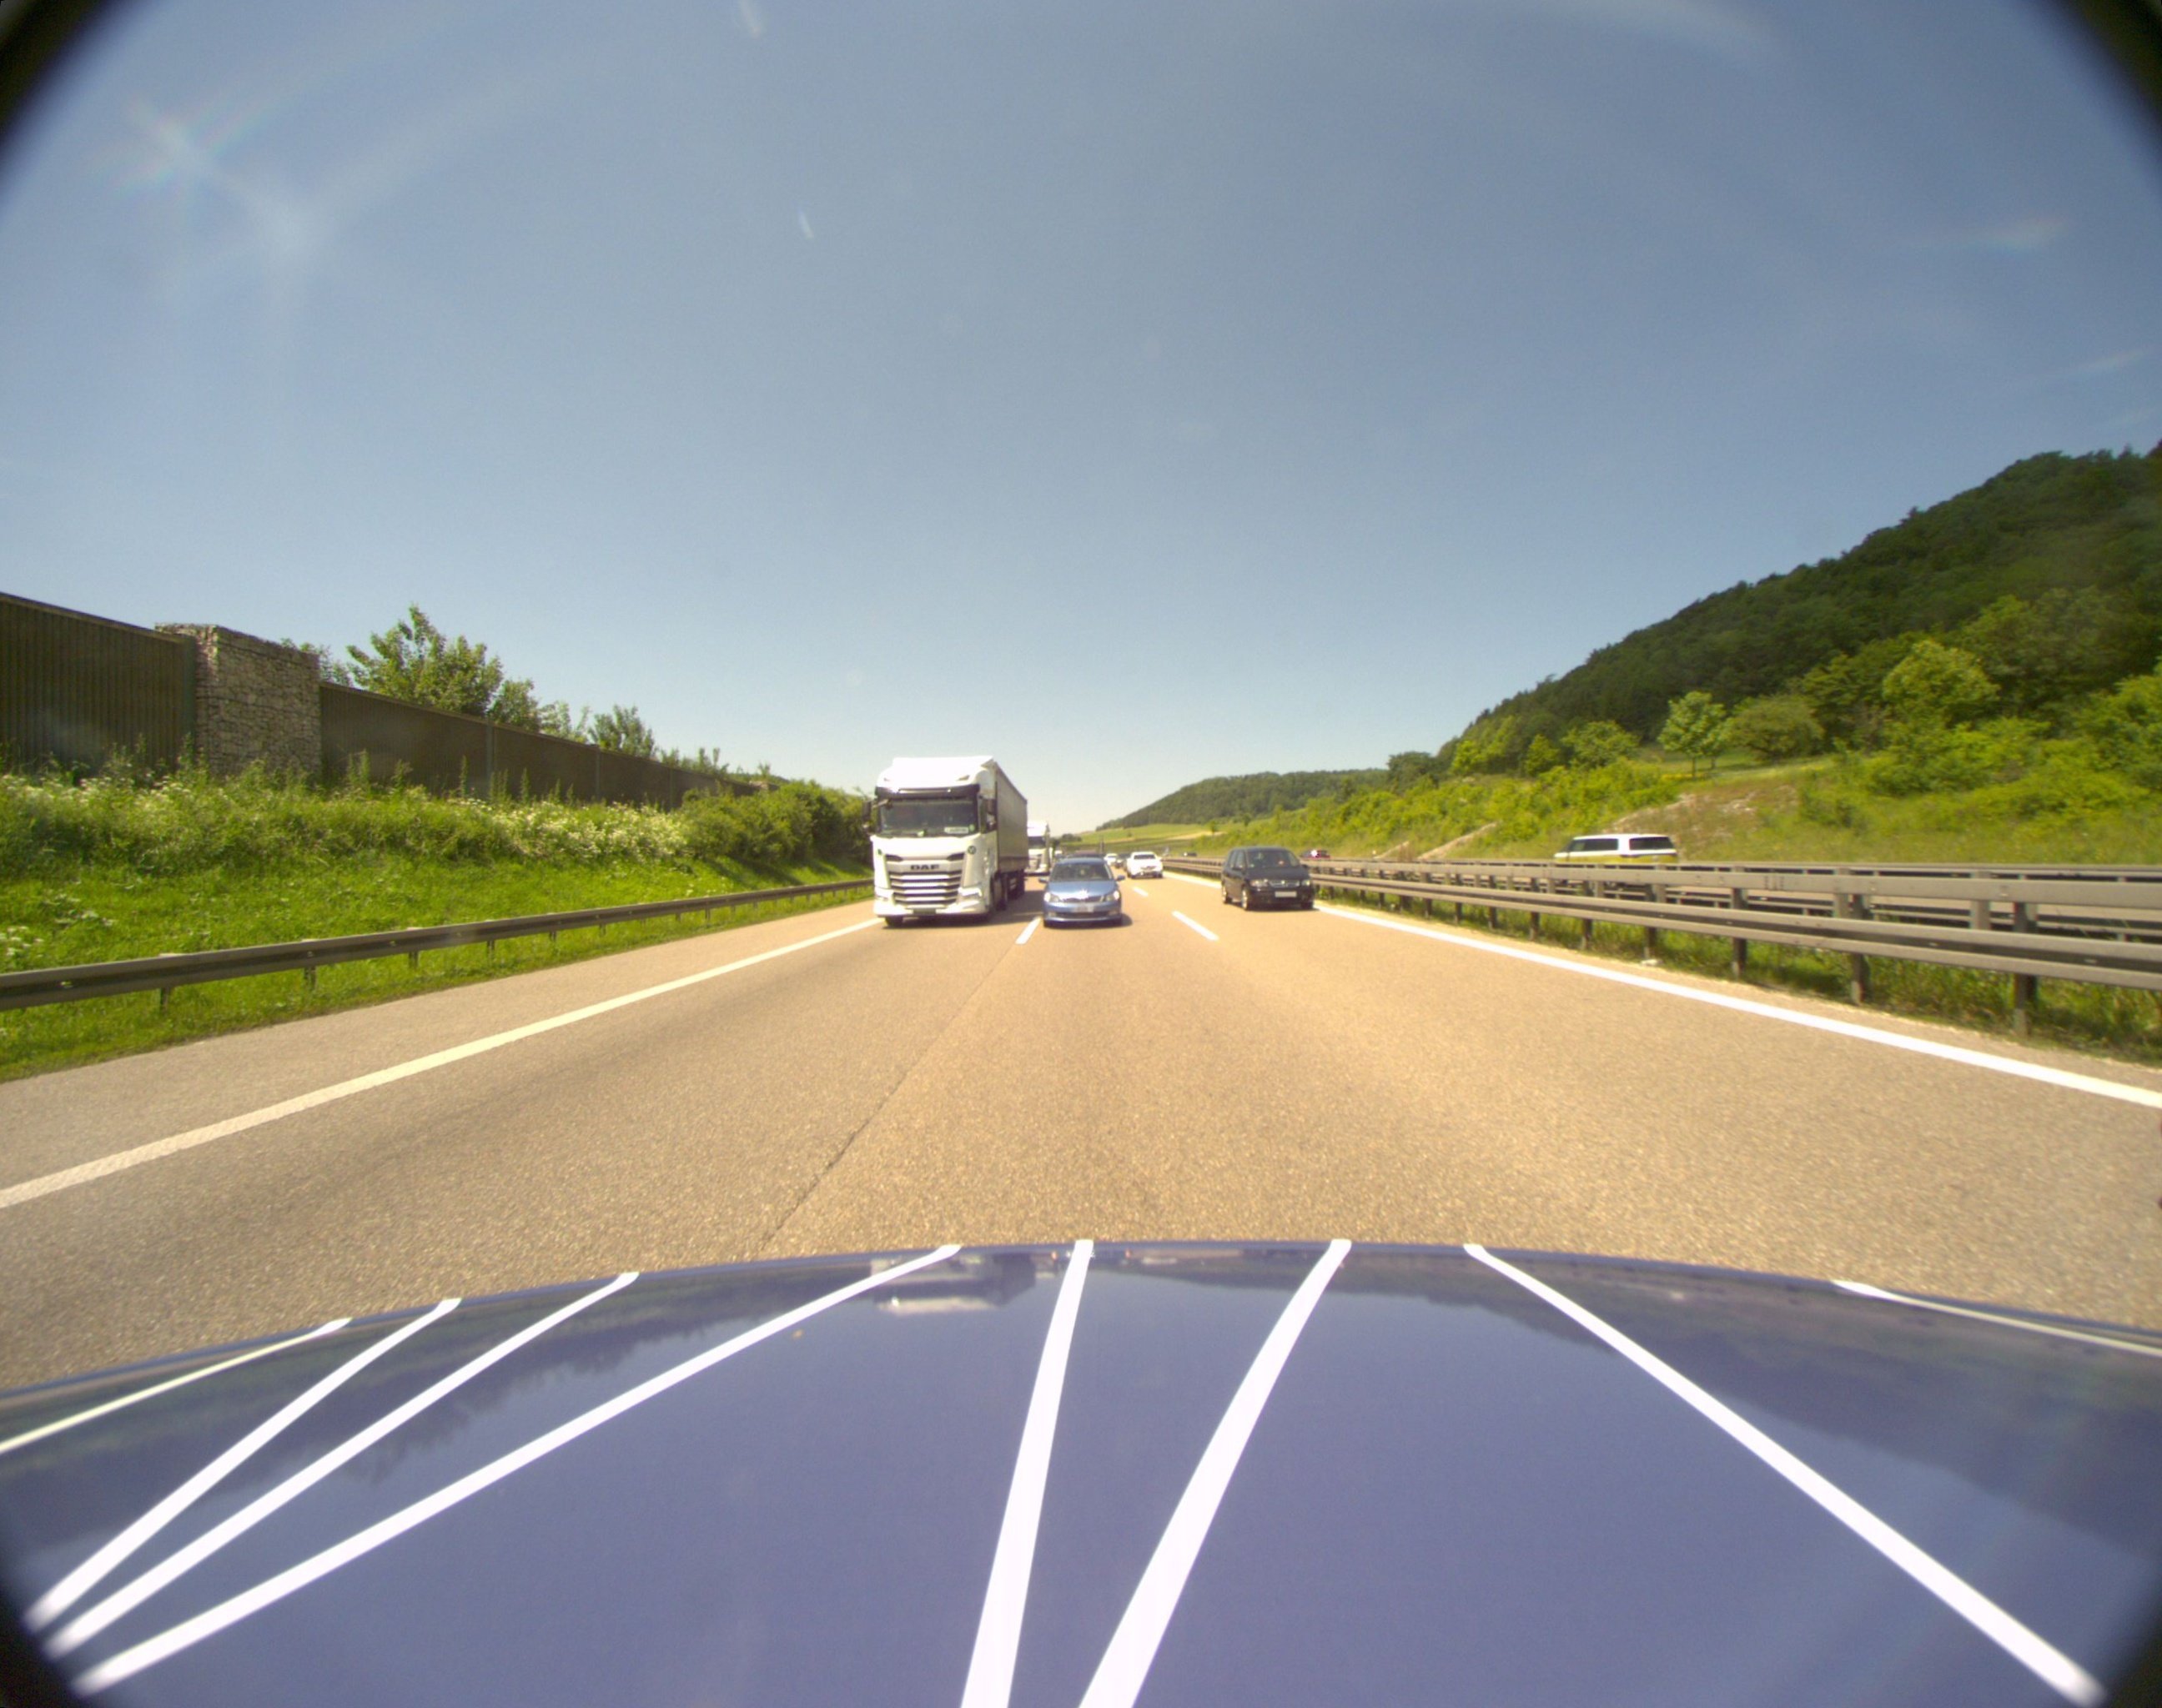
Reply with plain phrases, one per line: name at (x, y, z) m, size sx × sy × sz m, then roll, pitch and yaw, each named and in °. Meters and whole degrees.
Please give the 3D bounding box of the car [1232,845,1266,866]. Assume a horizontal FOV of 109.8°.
car at (15.492, 0.099, 70.503) m, size 1.998 × 1.828 × 5.226 m, roll -1°, pitch 0°, yaw 0°

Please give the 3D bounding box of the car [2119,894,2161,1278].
car at (4.719, 0.834, 0.846) m, size 1.693 × 1.380 × 4.000 m, roll -1°, pitch 0°, yaw 1°

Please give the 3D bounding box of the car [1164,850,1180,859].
car at (14.448, 0.086, 120.699) m, size 1.998 × 1.447 × 4.527 m, roll -1°, pitch 0°, yaw 0°

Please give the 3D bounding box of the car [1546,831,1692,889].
car at (19.581, 0.195, 27.958) m, size 2.065 × 1.930 × 4.660 m, roll -1°, pitch 0°, yaw 1°

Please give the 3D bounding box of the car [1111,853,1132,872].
car at (4.122, 0.836, 77.592) m, size 1.998 × 1.702 × 4.000 m, roll -2°, pitch 1°, yaw 3°

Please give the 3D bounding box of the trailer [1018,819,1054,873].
trailer at (-3.712, -0.690, 64.806) m, size 2.544 × 4.085 × 13.623 m, roll -2°, pitch 1°, yaw -2°

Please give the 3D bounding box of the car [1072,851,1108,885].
car at (0.507, 0.684, 39.717) m, size 1.736 × 1.674 × 4.198 m, roll -1°, pitch 0°, yaw 2°

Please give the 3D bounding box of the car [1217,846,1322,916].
car at (4.870, 0.642, 20.265) m, size 1.805 × 1.625 × 4.446 m, roll -1°, pitch 0°, yaw 2°

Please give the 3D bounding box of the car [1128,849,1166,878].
car at (3.941, 0.555, 45.931) m, size 1.998 × 1.612 × 4.000 m, roll -2°, pitch 1°, yaw 1°

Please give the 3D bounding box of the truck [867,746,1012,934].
truck at (-3.299, -0.317, 19.372) m, size 2.484 × 3.954 × 6.380 m, roll -1°, pitch 0°, yaw -1°

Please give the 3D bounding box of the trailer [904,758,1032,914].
trailer at (-3.337, -0.488, 26.340) m, size 2.484 × 3.954 × 13.653 m, roll -1°, pitch 0°, yaw -1°

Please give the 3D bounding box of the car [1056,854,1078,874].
car at (-1.313, 0.933, 71.458) m, size 1.999 × 1.702 × 3.999 m, roll -2°, pitch 1°, yaw -1°

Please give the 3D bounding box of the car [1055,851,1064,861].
car at (-4.826, 0.431, 169.667) m, size 1.999 × 2.002 × 3.999 m, roll -2°, pitch 1°, yaw -1°

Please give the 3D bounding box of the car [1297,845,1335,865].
car at (19.765, 0.071, 64.198) m, size 1.829 × 1.635 × 4.544 m, roll -1°, pitch 0°, yaw 0°

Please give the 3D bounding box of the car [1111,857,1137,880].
car at (3.571, 1.190, 63.562) m, size 1.998 × 1.692 × 4.000 m, roll -2°, pitch 1°, yaw 3°

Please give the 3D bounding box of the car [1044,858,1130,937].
car at (0.096, 0.867, 17.361) m, size 1.660 × 1.481 × 4.652 m, roll -1°, pitch 0°, yaw -1°

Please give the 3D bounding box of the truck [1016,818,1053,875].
truck at (-3.516, -0.583, 58.332) m, size 2.532 × 4.065 × 6.077 m, roll -2°, pitch 1°, yaw -2°

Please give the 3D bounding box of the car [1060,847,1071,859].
car at (-2.888, -0.226, 143.021) m, size 1.999 × 2.002 × 3.999 m, roll -2°, pitch 1°, yaw -1°

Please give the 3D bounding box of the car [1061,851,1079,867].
car at (-1.256, 0.555, 88.598) m, size 1.999 × 1.702 × 3.999 m, roll -2°, pitch 1°, yaw -1°

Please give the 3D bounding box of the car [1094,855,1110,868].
car at (2.846, 1.020, 103.632) m, size 1.998 × 1.702 × 4.000 m, roll -2°, pitch 1°, yaw 3°

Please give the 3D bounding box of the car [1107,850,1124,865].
car at (4.268, 0.436, 94.202) m, size 1.998 × 1.702 × 4.000 m, roll -2°, pitch 1°, yaw 3°

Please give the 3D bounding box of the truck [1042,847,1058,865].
truck at (-4.067, 0.241, 100.594) m, size 1.836 × 2.267 × 6.594 m, roll -2°, pitch 1°, yaw 0°
